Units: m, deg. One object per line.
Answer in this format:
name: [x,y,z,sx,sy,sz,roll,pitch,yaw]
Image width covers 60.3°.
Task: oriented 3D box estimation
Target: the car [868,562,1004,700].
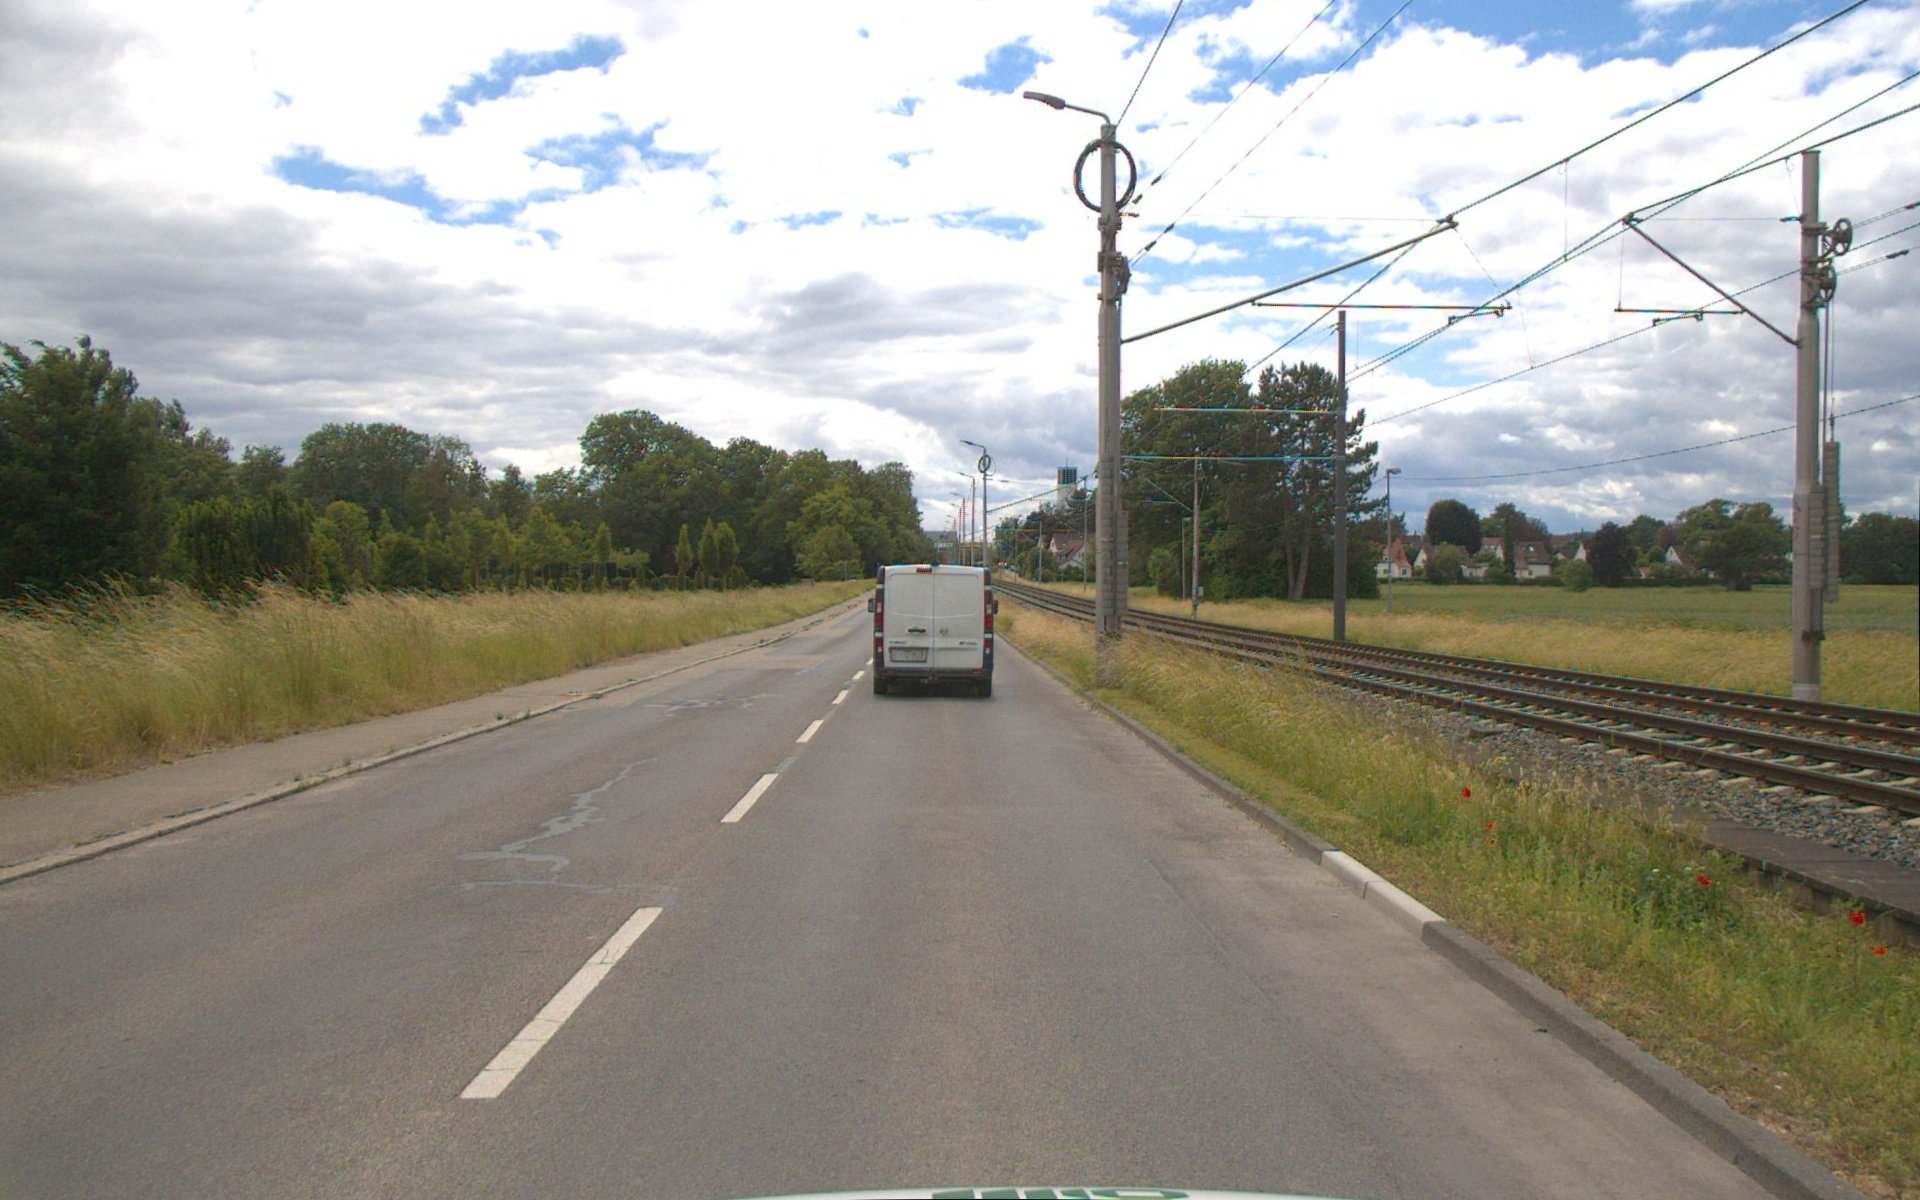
car: [-0.417,0.448,26.145,1.953,1.991,3.998,1,0,-2]
